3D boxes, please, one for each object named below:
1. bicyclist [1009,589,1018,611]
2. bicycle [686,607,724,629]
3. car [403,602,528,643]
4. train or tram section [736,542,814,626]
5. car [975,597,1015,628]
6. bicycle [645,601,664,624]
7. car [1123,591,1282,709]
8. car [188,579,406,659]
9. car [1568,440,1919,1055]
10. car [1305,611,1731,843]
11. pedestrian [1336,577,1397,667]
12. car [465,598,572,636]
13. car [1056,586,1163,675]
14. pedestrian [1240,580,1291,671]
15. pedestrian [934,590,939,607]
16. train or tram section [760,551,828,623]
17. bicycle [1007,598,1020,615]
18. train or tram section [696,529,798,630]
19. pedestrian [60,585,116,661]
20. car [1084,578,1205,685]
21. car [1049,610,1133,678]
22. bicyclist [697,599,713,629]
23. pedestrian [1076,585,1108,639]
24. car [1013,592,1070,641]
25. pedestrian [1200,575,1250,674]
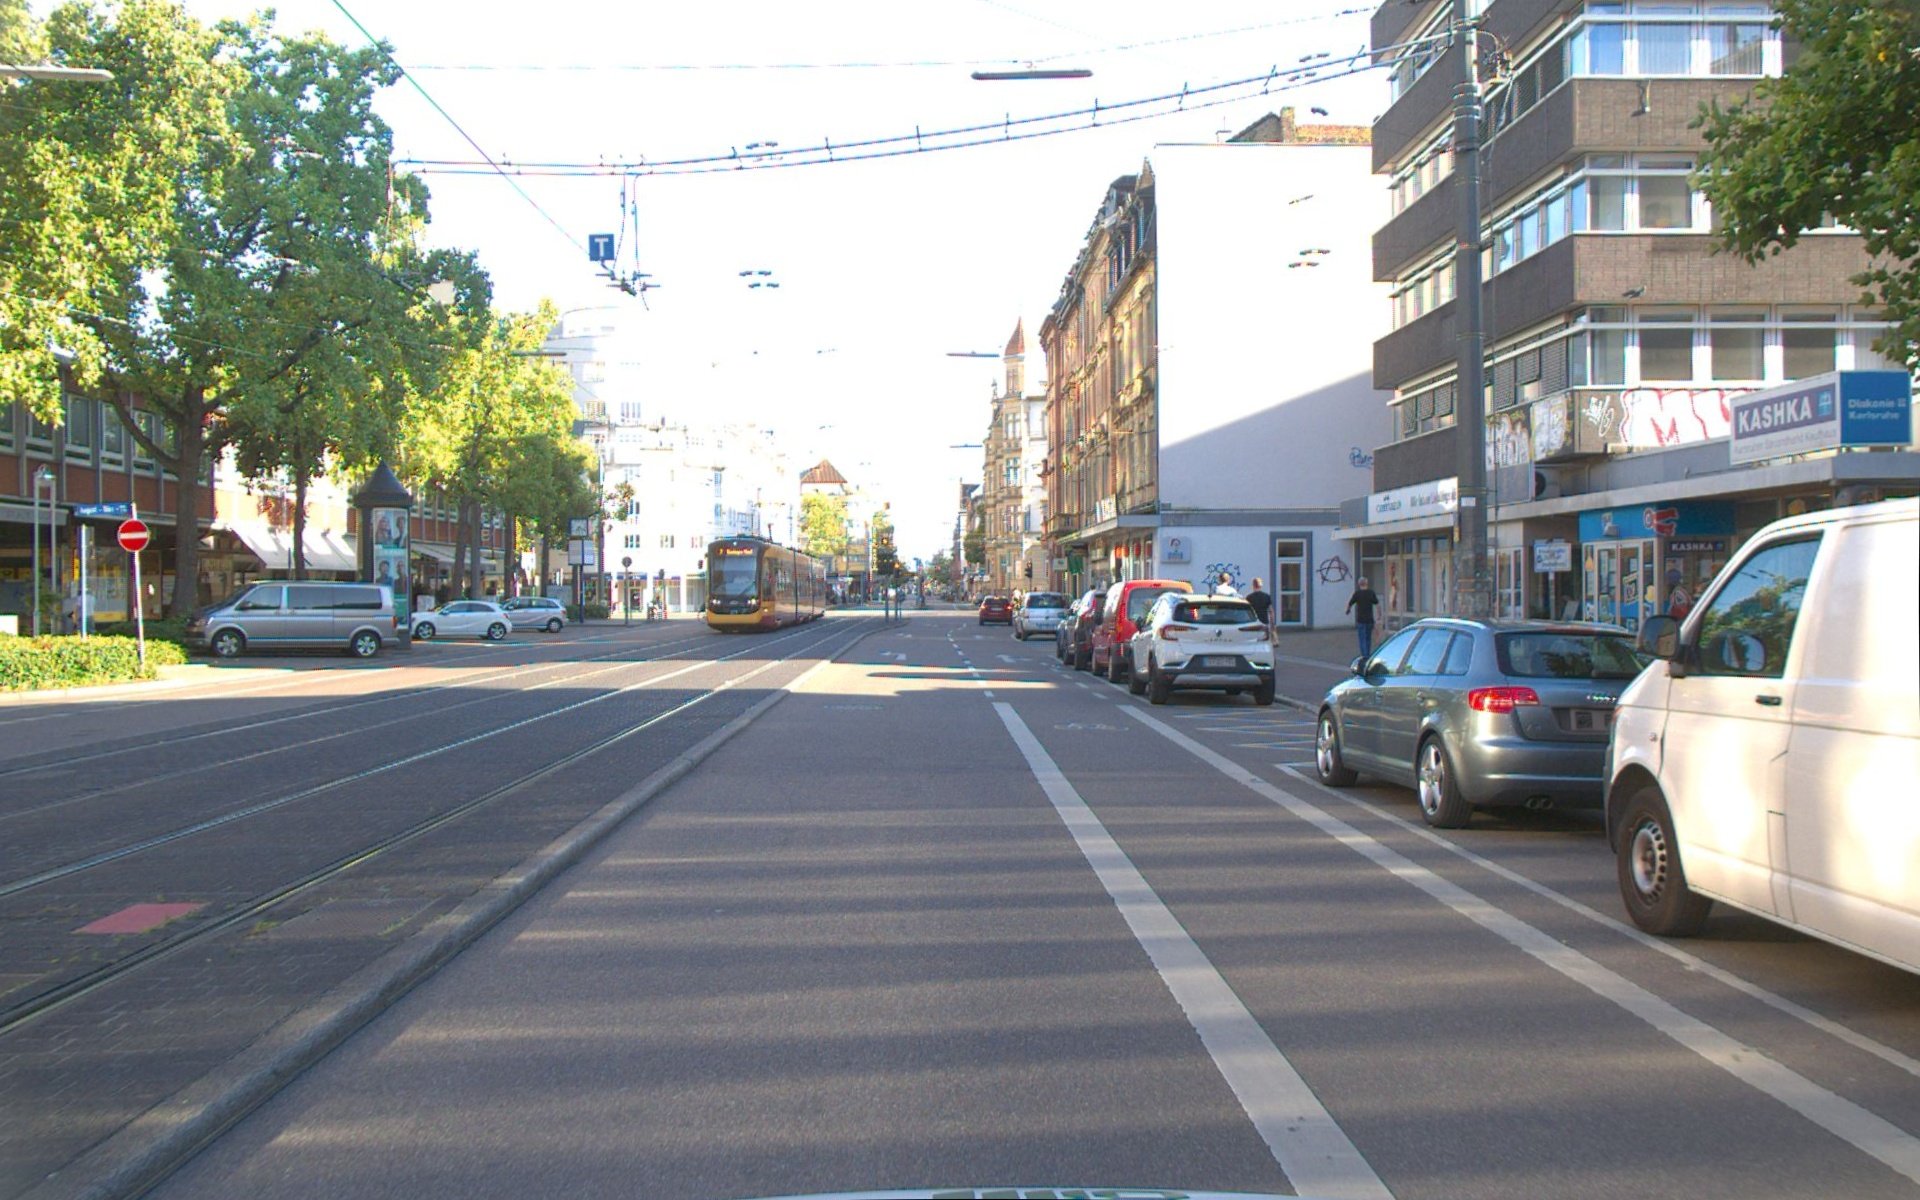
[{"bbox_3d":[3.597,-0.001,110.401,0.412,1.434,0.659,-1,0,19],"label":"bicyclist"},{"bbox_3d":[-14.255,1.008,92.445,1.991,1.198,0.624,0,-1,-23],"label":"bicycle"},{"bbox_3d":[-18.731,0.851,62.697,4.214,1.454,1.747,2,-1,-32],"label":"car"},{"bbox_3d":[-8.543,-0.663,77.470,2.621,3.613,11.123,-1,0,-1],"label":"train or tram section"},{"bbox_3d":[1.758,0.613,84.195,1.719,1.492,3.943,1,0,-3],"label":"car"},{"bbox_3d":[-18.068,0.731,97.865,0.657,1.350,1.906,3,0,2],"label":"bicycle"},{"bbox_3d":[3.569,0.692,25.046,1.750,1.624,4.326,0,0,0],"label":"car"},{"bbox_3d":[-17.389,0.534,43.468,5.058,1.963,1.833,2,-1,-33],"label":"car"},{"bbox_3d":[4.134,0.502,6.216,1.839,2.056,4.904,1,0,-1],"label":"car"},{"bbox_3d":[3.968,0.829,12.526,1.641,1.429,4.165,1,-1,-3],"label":"car"},{"bbox_3d":[8.171,0.440,33.312,0.882,1.743,1.032,-3,0,-2],"label":"pedestrian"},{"bbox_3d":[-19.515,0.760,73.144,4.226,1.593,1.807,1,-1,-33],"label":"car"},{"bbox_3d":[3.180,0.618,35.914,1.783,1.788,4.474,1,0,-2],"label":"car"},{"bbox_3d":[6.097,0.496,33.055,0.794,1.787,1.032,-1,0,-2],"label":"pedestrian"},{"bbox_3d":[-2.912,-0.225,202.449,0.548,2.049,0.603,-1,0,-1],"label":"pedestrian"},{"bbox_3d":[-8.855,-0.628,89.456,2.621,3.613,12.837,-1,0,-1],"label":"train or tram section"},{"bbox_3d":[3.571,0.407,110.303,0.412,1.115,1.413,0,0,19],"label":"bicycle"},{"bbox_3d":[-8.264,-0.723,65.647,2.703,3.613,12.463,-1,0,-1],"label":"train or tram section"},{"bbox_3d":[-22.472,0.585,42.611,0.878,1.910,0.919,0,0,19],"label":"pedestrian"},{"bbox_3d":[3.391,0.553,31.063,1.641,1.840,4.247,1,0,-2],"label":"car"},{"bbox_3d":[3.264,1.070,41.877,1.605,1.518,3.793,2,1,-3],"label":"car"},{"bbox_3d":[-14.177,0.771,92.032,0.720,1.655,0.760,0,-1,-23],"label":"bicyclist"},{"bbox_3d":[4.536,0.396,56.890,0.927,1.824,1.054,-1,0,-2],"label":"pedestrian"},{"bbox_3d":[2.825,0.545,57.732,1.605,1.643,3.943,1,0,-3],"label":"car"},{"bbox_3d":[5.271,0.477,32.997,0.777,1.932,1.032,-1,0,-2],"label":"pedestrian"}]
